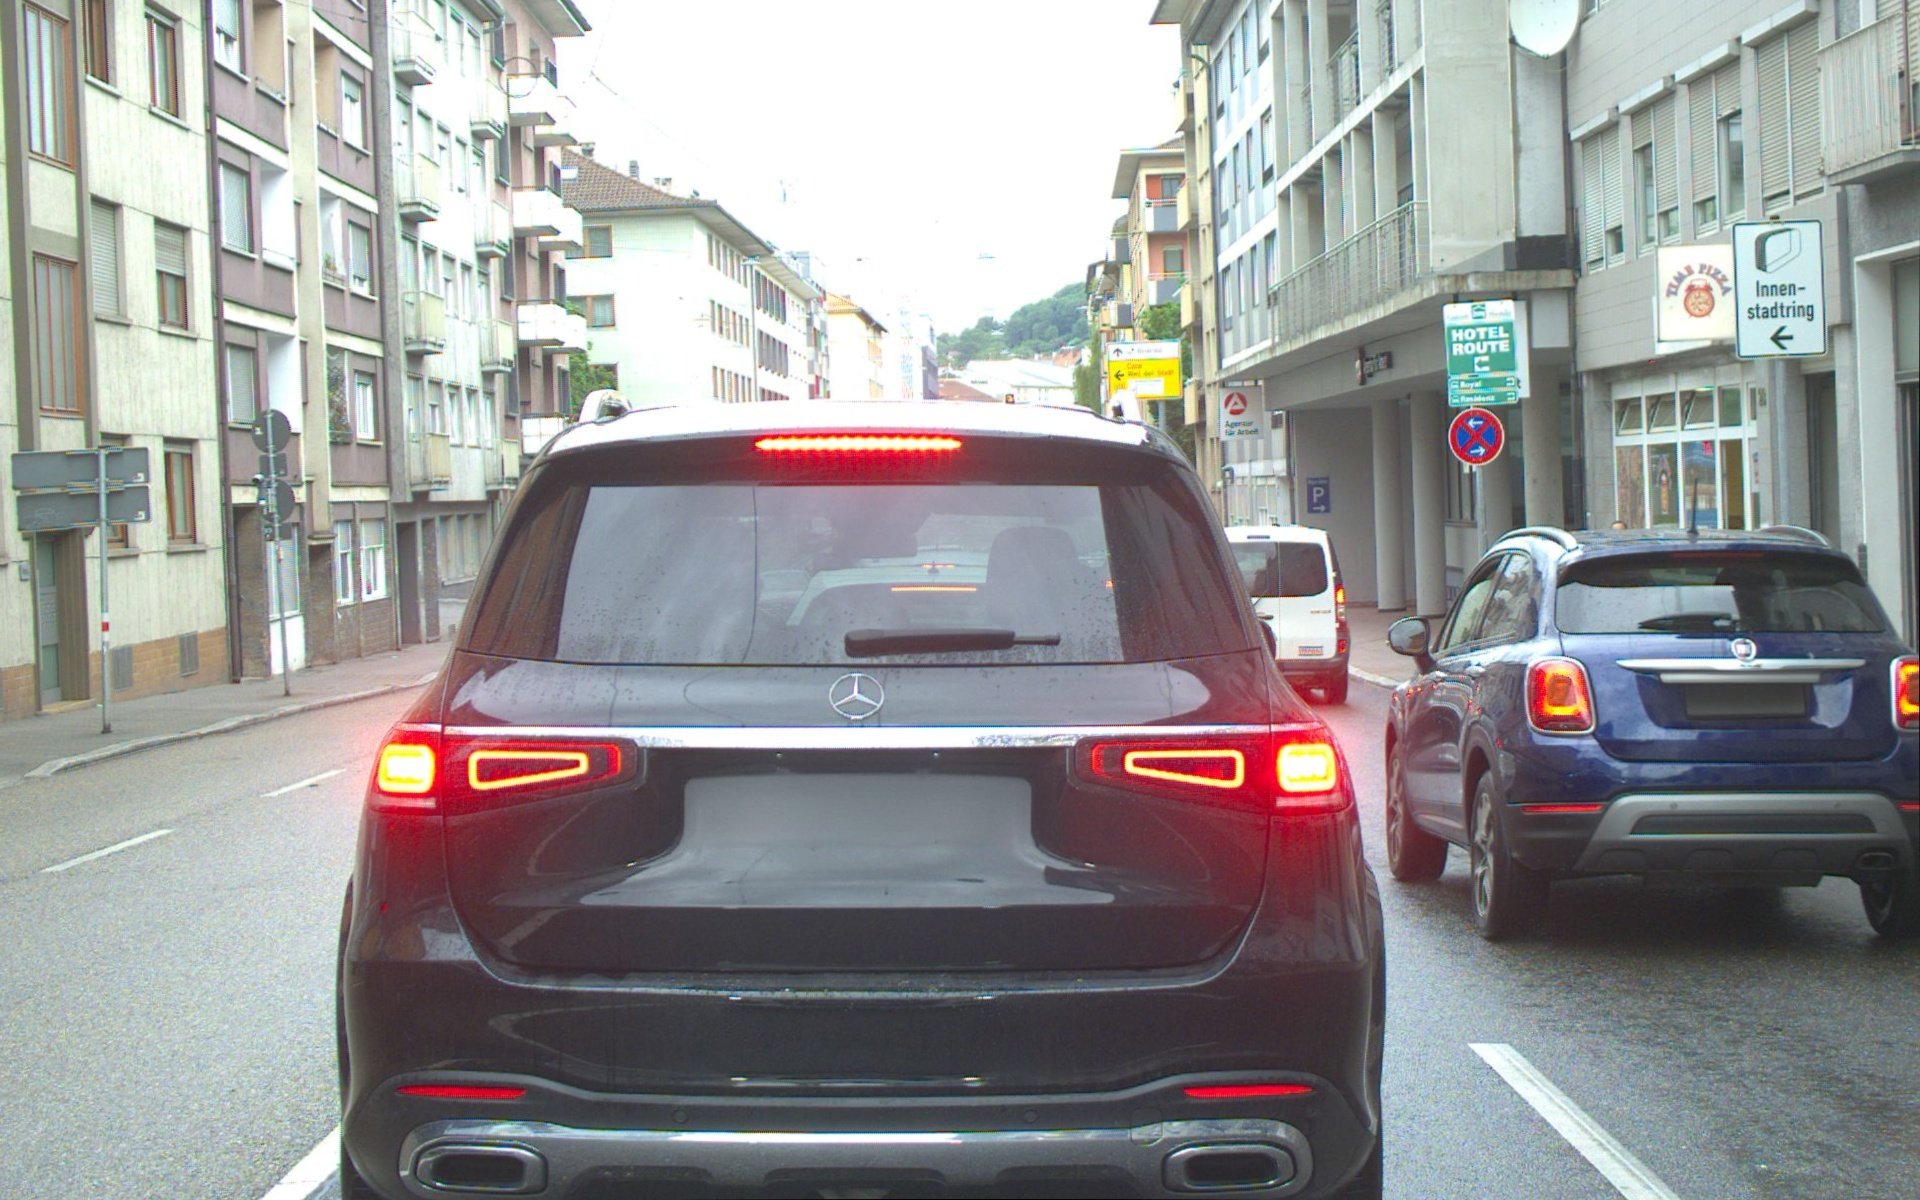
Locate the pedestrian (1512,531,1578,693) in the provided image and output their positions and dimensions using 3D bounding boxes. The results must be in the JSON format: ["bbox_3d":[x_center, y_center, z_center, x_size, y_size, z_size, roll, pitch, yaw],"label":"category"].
[{"bbox_3d":[5.587,0.109,32.870,0.506,1.495,0.562,-4,1,8],"label":"pedestrian"}]

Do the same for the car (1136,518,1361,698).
[{"bbox_3d":[2.956,0.040,36.110,1.940,1.769,4.746,0,1,0],"label":"car"}]

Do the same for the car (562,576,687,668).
[{"bbox_3d":[-5.737,0.351,59.164,1.767,1.341,3.889,-5,1,-2],"label":"car"}]

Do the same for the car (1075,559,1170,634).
[{"bbox_3d":[3.267,-0.096,69.834,1.621,1.425,4.312,1,1,-1],"label":"car"}]

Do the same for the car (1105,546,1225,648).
[{"bbox_3d":[3.328,-0.085,56.356,1.808,1.600,4.212,0,1,1],"label":"car"}]

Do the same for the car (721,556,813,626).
[{"bbox_3d":[-4.188,-0.210,75.131,1.724,1.385,4.339,-3,1,-1],"label":"car"}]

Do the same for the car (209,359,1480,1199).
[{"bbox_3d":[-0.228,0.496,7.535,2.025,1.799,4.000,1,1,-1],"label":"car"}]

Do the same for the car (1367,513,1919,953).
[{"bbox_3d":[2.856,0.445,14.413,1.767,1.575,4.000,-1,1,-1],"label":"car"}]

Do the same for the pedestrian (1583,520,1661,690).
[{"bbox_3d":[6.309,0.045,32.792,0.560,1.573,0.526,-4,1,4],"label":"pedestrian"}]
